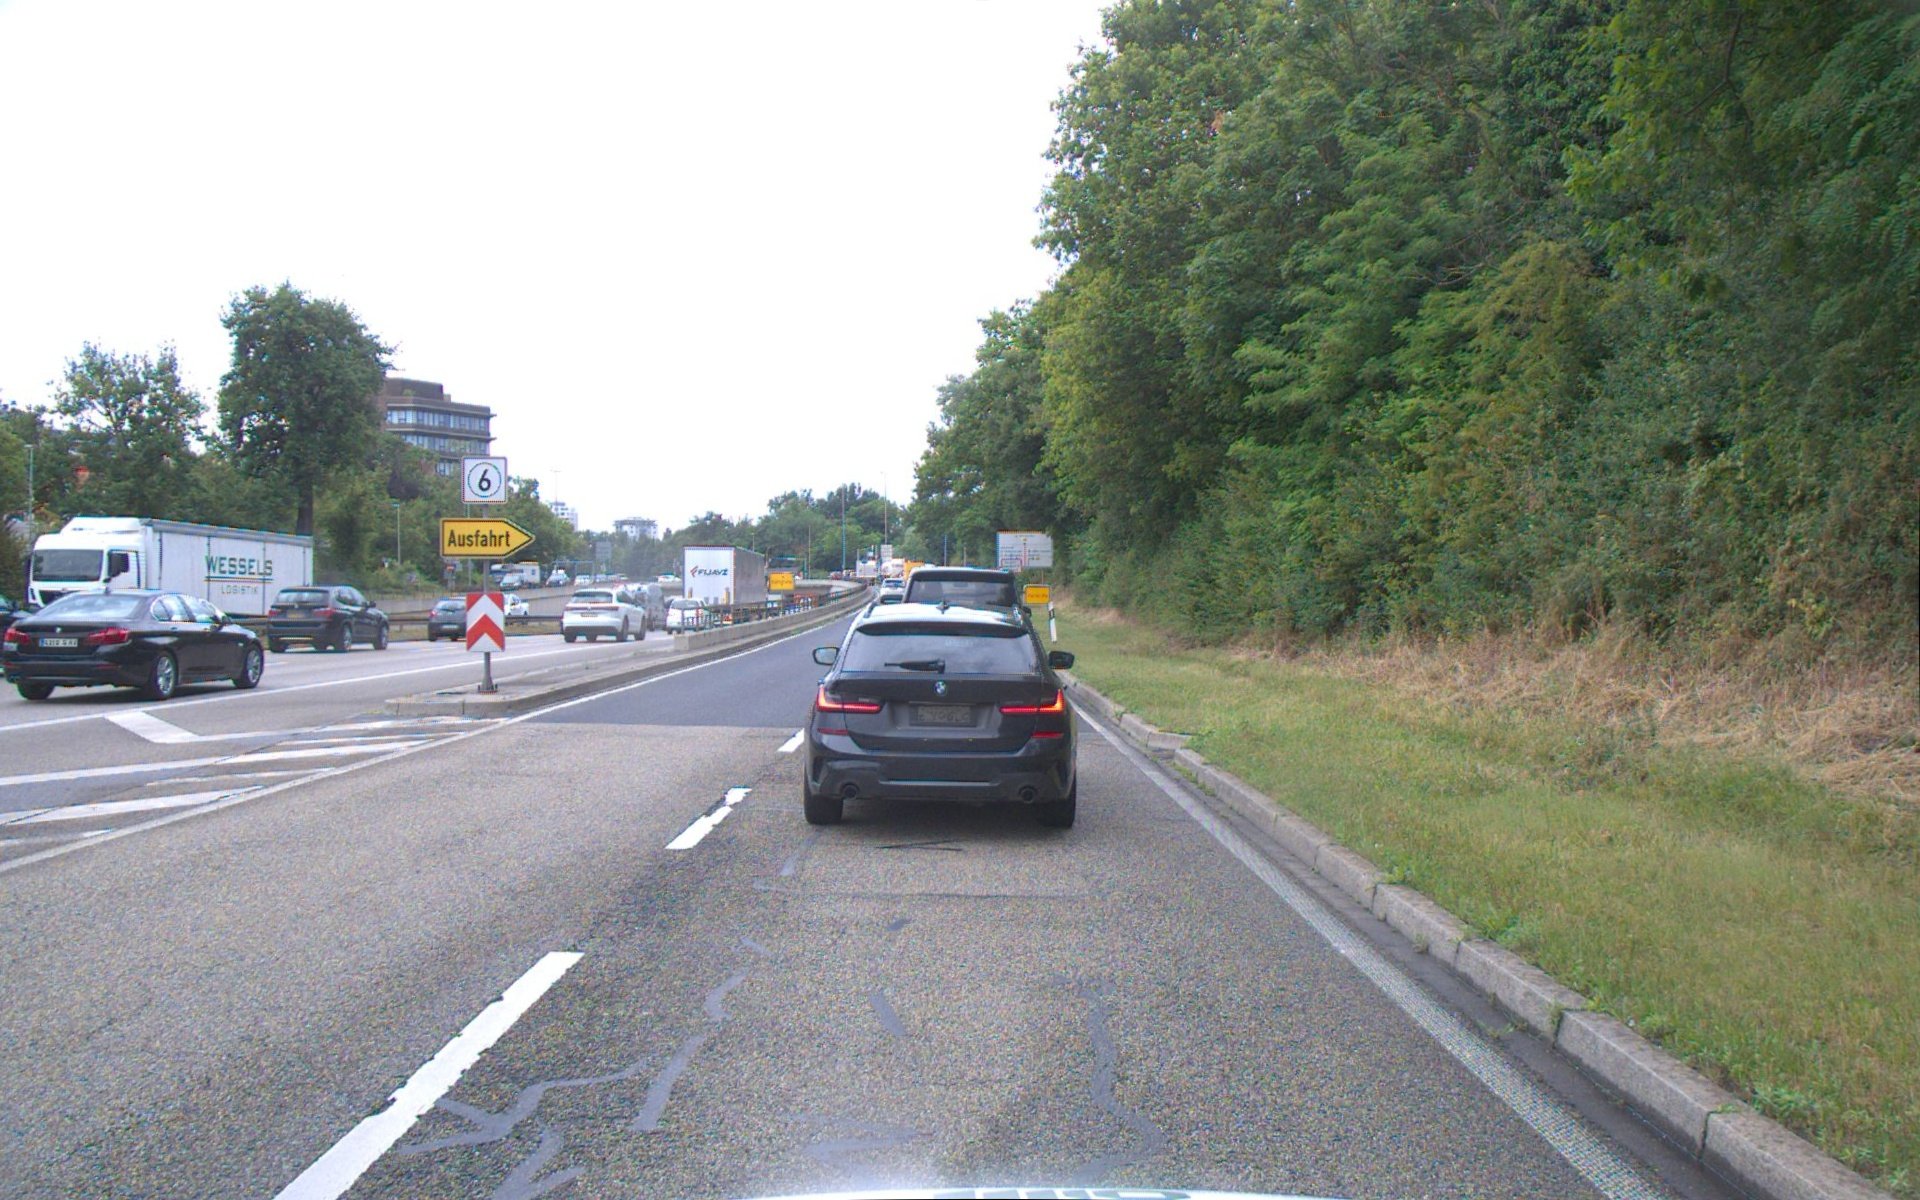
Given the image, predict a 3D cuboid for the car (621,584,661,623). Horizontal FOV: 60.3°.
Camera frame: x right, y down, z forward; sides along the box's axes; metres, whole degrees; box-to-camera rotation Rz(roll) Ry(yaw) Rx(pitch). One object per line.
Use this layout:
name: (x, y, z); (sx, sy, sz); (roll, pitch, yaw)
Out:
car: (-17.001, 0.175, 88.298); (1.414, 2.080, 3.680); (0, 0, 0)

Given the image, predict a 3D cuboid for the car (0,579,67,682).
car: (-16.470, 0.490, 26.770); (1.716, 1.664, 4.266); (0, 0, 0)

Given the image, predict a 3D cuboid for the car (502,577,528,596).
car: (-38.156, -1.128, 141.846); (1.408, 1.601, 3.243); (0, 0, -1)

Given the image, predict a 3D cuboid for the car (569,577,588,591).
car: (-41.335, -1.742, 179.337); (1.409, 1.471, 3.242); (0, 0, -3)

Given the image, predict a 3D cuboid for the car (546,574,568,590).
car: (-39.481, -1.749, 161.974); (1.408, 1.614, 3.243); (0, 0, -1)

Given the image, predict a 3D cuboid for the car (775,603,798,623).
car: (-13.149, 0.962, 125.563); (1.418, 1.516, 3.062); (0, 0, 0)

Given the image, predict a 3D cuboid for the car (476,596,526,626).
car: (-23.607, 0.541, 85.139); (1.643, 1.504, 3.707); (0, 0, -2)

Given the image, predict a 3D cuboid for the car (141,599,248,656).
car: (-22.734, 0.790, 49.223); (1.565, 1.612, 3.563); (0, 0, -1)

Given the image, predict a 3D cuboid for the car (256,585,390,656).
car: (-16.209, 0.484, 42.316); (1.852, 1.711, 4.305); (0, 0, -2)

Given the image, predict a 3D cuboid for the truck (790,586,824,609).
truck: (-17.423, -0.314, 188.592); (3.207, 2.553, 7.659); (0, 0, -1)

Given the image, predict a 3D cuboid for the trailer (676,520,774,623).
trailer: (-11.956, -1.363, 85.699); (3.069, 4.807, 14.555); (1, 0, -1)

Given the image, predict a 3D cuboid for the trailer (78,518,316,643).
trailer: (-27.399, -0.650, 60.505); (2.541, 4.052, 13.780); (0, 0, -1)

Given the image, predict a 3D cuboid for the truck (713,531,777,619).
truck: (-12.066, -1.365, 93.281); (3.021, 4.780, 4.231); (1, 0, -1)

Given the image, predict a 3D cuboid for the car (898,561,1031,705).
car: (0.053, 0.439, 24.020); (1.759, 1.905, 4.000); (0, 0, 0)

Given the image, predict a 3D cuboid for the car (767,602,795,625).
car: (-12.483, 0.931, 115.368); (1.667, 1.555, 3.469); (0, 0, -1)

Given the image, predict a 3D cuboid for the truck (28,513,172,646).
truck: (-27.274, -0.630, 52.613); (2.543, 4.060, 3.999); (0, 0, -1)

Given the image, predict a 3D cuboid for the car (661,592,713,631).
car: (-11.525, 0.462, 70.048); (1.733, 1.577, 3.491); (0, 0, -2)

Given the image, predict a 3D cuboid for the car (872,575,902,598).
car: (-5.049, -0.929, 115.285); (1.891, 1.624, 3.877); (0, 0, 1)

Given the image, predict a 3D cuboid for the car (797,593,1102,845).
car: (-0.130, 0.706, 11.829); (1.809, 1.492, 3.998); (0, 0, -2)

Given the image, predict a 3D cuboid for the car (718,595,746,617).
car: (-16.311, 0.395, 118.325); (1.553, 1.559, 3.469); (0, 0, -1)

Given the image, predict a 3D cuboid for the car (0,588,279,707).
car: (-11.370, 0.590, 23.212); (1.677, 1.482, 4.666); (1, 0, 0)

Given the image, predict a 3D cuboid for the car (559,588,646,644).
car: (-11.575, 0.485, 53.794); (1.906, 1.721, 4.506); (0, 0, -1)

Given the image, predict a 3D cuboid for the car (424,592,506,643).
car: (-16.874, 0.578, 56.499); (1.653, 1.636, 4.007); (1, 0, -2)

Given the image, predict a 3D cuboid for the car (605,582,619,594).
car: (-45.710, -1.592, 217.324); (1.406, 1.523, 3.159); (0, 0, -5)
